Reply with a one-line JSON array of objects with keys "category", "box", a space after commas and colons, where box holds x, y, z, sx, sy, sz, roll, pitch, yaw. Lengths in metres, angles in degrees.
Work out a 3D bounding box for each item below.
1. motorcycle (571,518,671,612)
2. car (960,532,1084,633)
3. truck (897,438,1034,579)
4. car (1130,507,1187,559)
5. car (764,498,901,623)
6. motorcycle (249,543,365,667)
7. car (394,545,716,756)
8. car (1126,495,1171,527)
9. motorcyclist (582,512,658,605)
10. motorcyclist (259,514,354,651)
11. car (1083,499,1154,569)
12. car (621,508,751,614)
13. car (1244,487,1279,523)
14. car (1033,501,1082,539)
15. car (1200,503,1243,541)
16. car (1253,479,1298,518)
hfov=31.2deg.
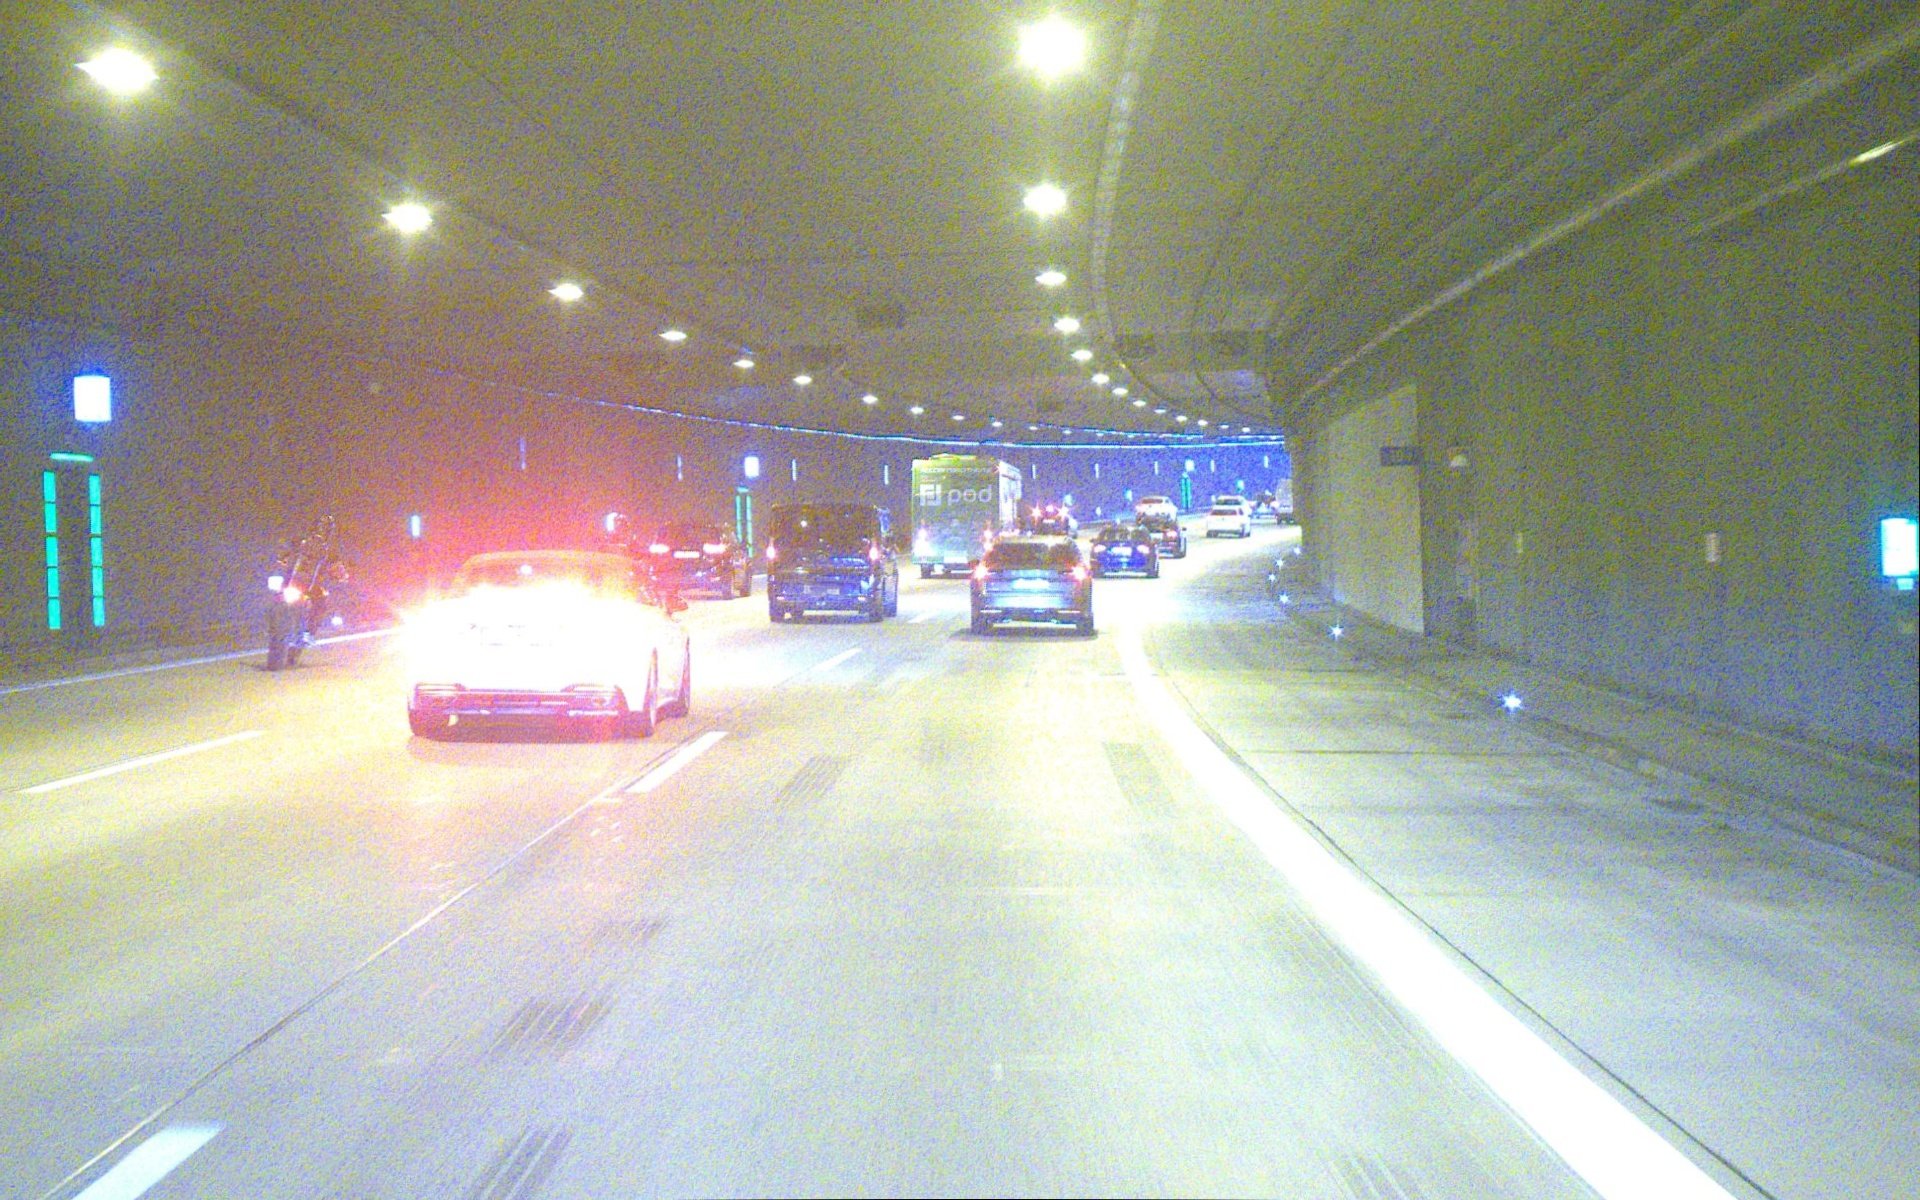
[{"category": "motorcycle", "box": [-5.365, -0.547, 54.637, 0.926, 1.429, 2.963, 1, 0, 7]}, {"category": "car", "box": [0.962, -0.263, 51.621, 1.742, 1.459, 3.871, 0, 0, 3]}, {"category": "truck", "box": [0.214, -2.452, 93.512, 3.039, 3.660, 7.391, 1, 1, 5]}, {"category": "car", "box": [6.996, -2.334, 121.120, 1.950, 1.766, 4.000, 1, 0, 3]}, {"category": "car", "box": [-2.080, -0.694, 57.133, 1.910, 1.937, 3.871, 0, 3, 3]}, {"category": "motorcycle", "box": [-7.033, 0.035, 37.135, 0.683, 1.292, 2.398, 0, 1, 3]}, {"category": "car", "box": [-3.077, 0.317, 27.127, 1.702, 1.414, 5.060, 0, 2, 3]}, {"category": "car", "box": [10.192, -4.795, 185.763, 1.931, 1.637, 3.998, 1, 0, 10]}, {"category": "motorcyclist", "box": [-5.390, -0.643, 54.635, 0.806, 1.443, 1.865, 0, 0, 7]}, {"category": "motorcyclist", "box": [-7.047, -0.194, 37.095, 0.777, 1.447, 1.069, 1, 0, 2]}, {"category": "car", "box": [4.347, -1.790, 93.903, 1.857, 1.848, 4.000, 1, 1, 4]}, {"category": "car", "box": [-5.367, -0.776, 67.876, 1.994, 2.007, 4.000, 1, 1, 4]}, {"category": "car", "box": [17.772, -5.570, 202.668, 1.994, 2.007, 3.999, 1, 0, 6]}, {"category": "car", "box": [4.339, -3.542, 152.696, 1.931, 1.637, 3.999, 1, 1, 5]}, {"category": "car", "box": [12.085, -3.603, 159.093, 1.931, 1.637, 3.999, 1, 0, 4]}, {"category": "car", "box": [17.412, -5.591, 189.642, 1.994, 2.007, 3.998, 1, 0, 12]}]
